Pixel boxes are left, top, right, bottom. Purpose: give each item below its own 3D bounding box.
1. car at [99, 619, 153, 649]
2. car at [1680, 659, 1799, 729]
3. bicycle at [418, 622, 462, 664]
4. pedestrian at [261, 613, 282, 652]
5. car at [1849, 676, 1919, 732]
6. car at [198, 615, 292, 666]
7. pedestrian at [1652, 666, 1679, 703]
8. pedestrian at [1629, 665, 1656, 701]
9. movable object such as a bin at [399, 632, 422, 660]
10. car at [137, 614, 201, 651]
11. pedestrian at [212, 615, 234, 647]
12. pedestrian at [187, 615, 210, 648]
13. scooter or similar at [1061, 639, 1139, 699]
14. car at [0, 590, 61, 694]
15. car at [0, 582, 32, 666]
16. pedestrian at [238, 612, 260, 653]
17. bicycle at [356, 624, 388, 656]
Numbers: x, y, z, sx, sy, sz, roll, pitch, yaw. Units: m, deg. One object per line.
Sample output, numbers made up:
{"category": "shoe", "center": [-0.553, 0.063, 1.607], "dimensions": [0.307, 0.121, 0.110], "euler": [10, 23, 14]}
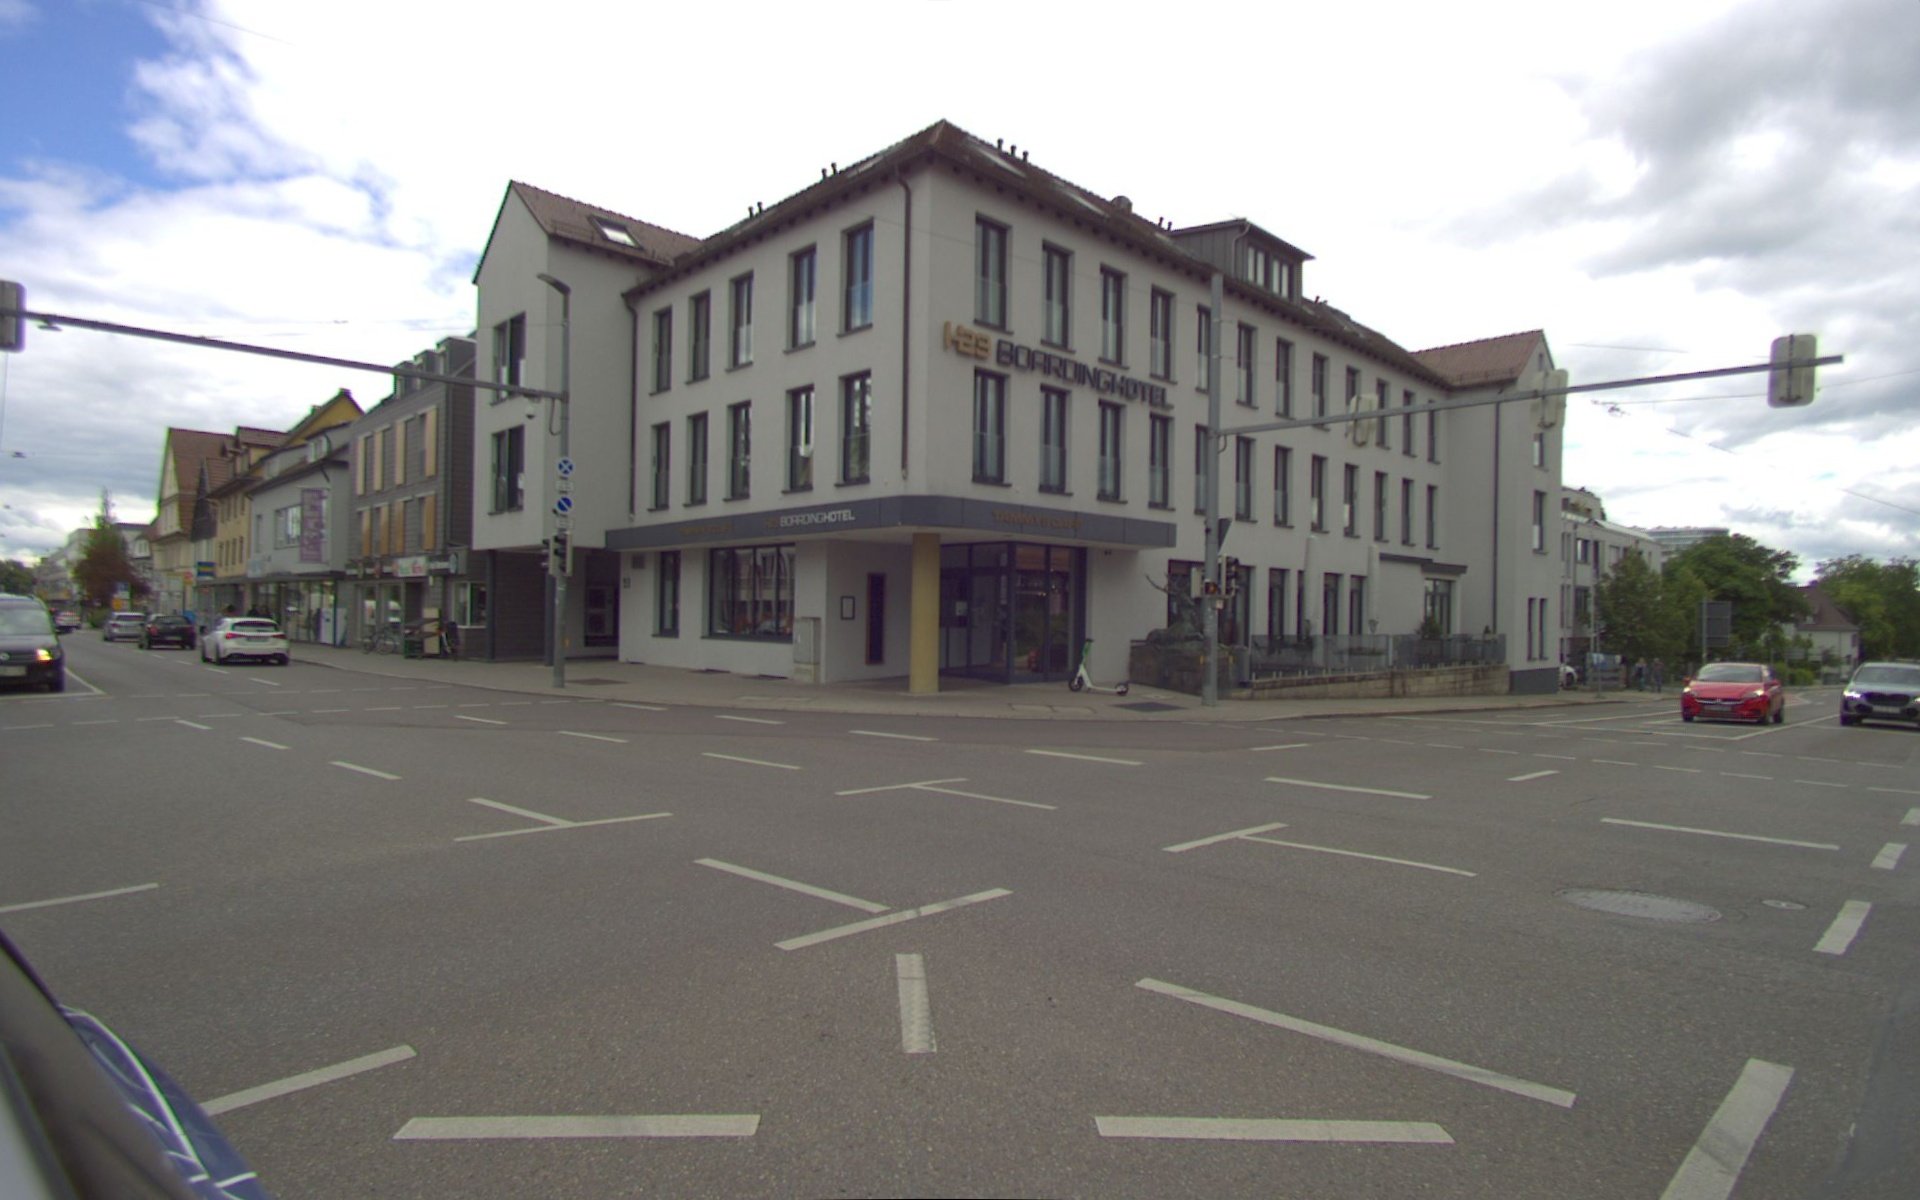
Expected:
{"category": "car", "center": [-44.516, 1.789, 53.997], "dimensions": [1.847, 1.497, 4.003], "euler": [1, -2, -44]}
{"category": "car", "center": [19.147, 2.250, 24.798], "dimensions": [3.941, 1.497, 1.816], "euler": [4, -3, -45]}
{"category": "bicycle", "center": [-16.205, 1.315, 31.511], "dimensions": [2.120, 1.241, 0.575], "euler": [-1, -1, 45]}
{"category": "pedestrian", "center": [-32.269, 1.503, 47.423], "dimensions": [0.698, 1.795, 0.871], "euler": [1, -2, -43]}
{"category": "car", "center": [23.958, 2.612, 25.721], "dimensions": [3.465, 1.288, 1.802], "euler": [4, -3, -45]}
{"category": "car", "center": [-22.128, 1.220, 31.254], "dimensions": [1.724, 1.470, 4.238], "euler": [2, -3, -44]}
{"category": "pedestrian", "center": [33.649, 4.017, 48.241], "dimensions": [0.850, 1.665, 0.864], "euler": [1, -2, -42]}
{"category": "pedestrian", "center": [32.976, 4.017, 48.902], "dimensions": [0.850, 1.665, 0.864], "euler": [1, -2, -42]}
{"category": "movable object such as a bin", "center": [-18.089, 1.514, 33.314], "dimensions": [0.507, 0.906, 0.544], "euler": [-1, -1, 44]}
{"category": "car", "center": [-33.828, 1.380, 43.238], "dimensions": [1.723, 1.470, 3.820], "euler": [2, -3, -44]}
{"category": "pedestrian", "center": [-37.887, 1.584, 52.021], "dimensions": [0.800, 1.595, 0.921], "euler": [1, -1, -43]}
{"category": "pedestrian", "center": [-38.661, 1.595, 51.388], "dimensions": [0.800, 1.674, 0.921], "euler": [1, -1, -43]}
{"category": "scooter or similar", "center": [2.959, 1.458, 21.474], "dimensions": [1.554, 1.167, 0.426], "euler": [3, -1, 5]}
{"category": "car", "center": [-18.752, 0.788, 19.566], "dimensions": [4.573, 1.834, 1.689], "euler": [-1, 0, 44]}
{"category": "car", "center": [-25.117, 0.620, 25.824], "dimensions": [1.970, 2.029, 4.843], "euler": [-1, 0, -44]}
{"category": "pedestrian", "center": [-32.910, 1.501, 46.833], "dimensions": [0.698, 1.853, 1.029], "euler": [1, -2, -43]}
{"category": "bicycle", "center": [-21.026, 1.428, 36.167], "dimensions": [0.565, 1.109, 1.904], "euler": [1, -1, -44]}
